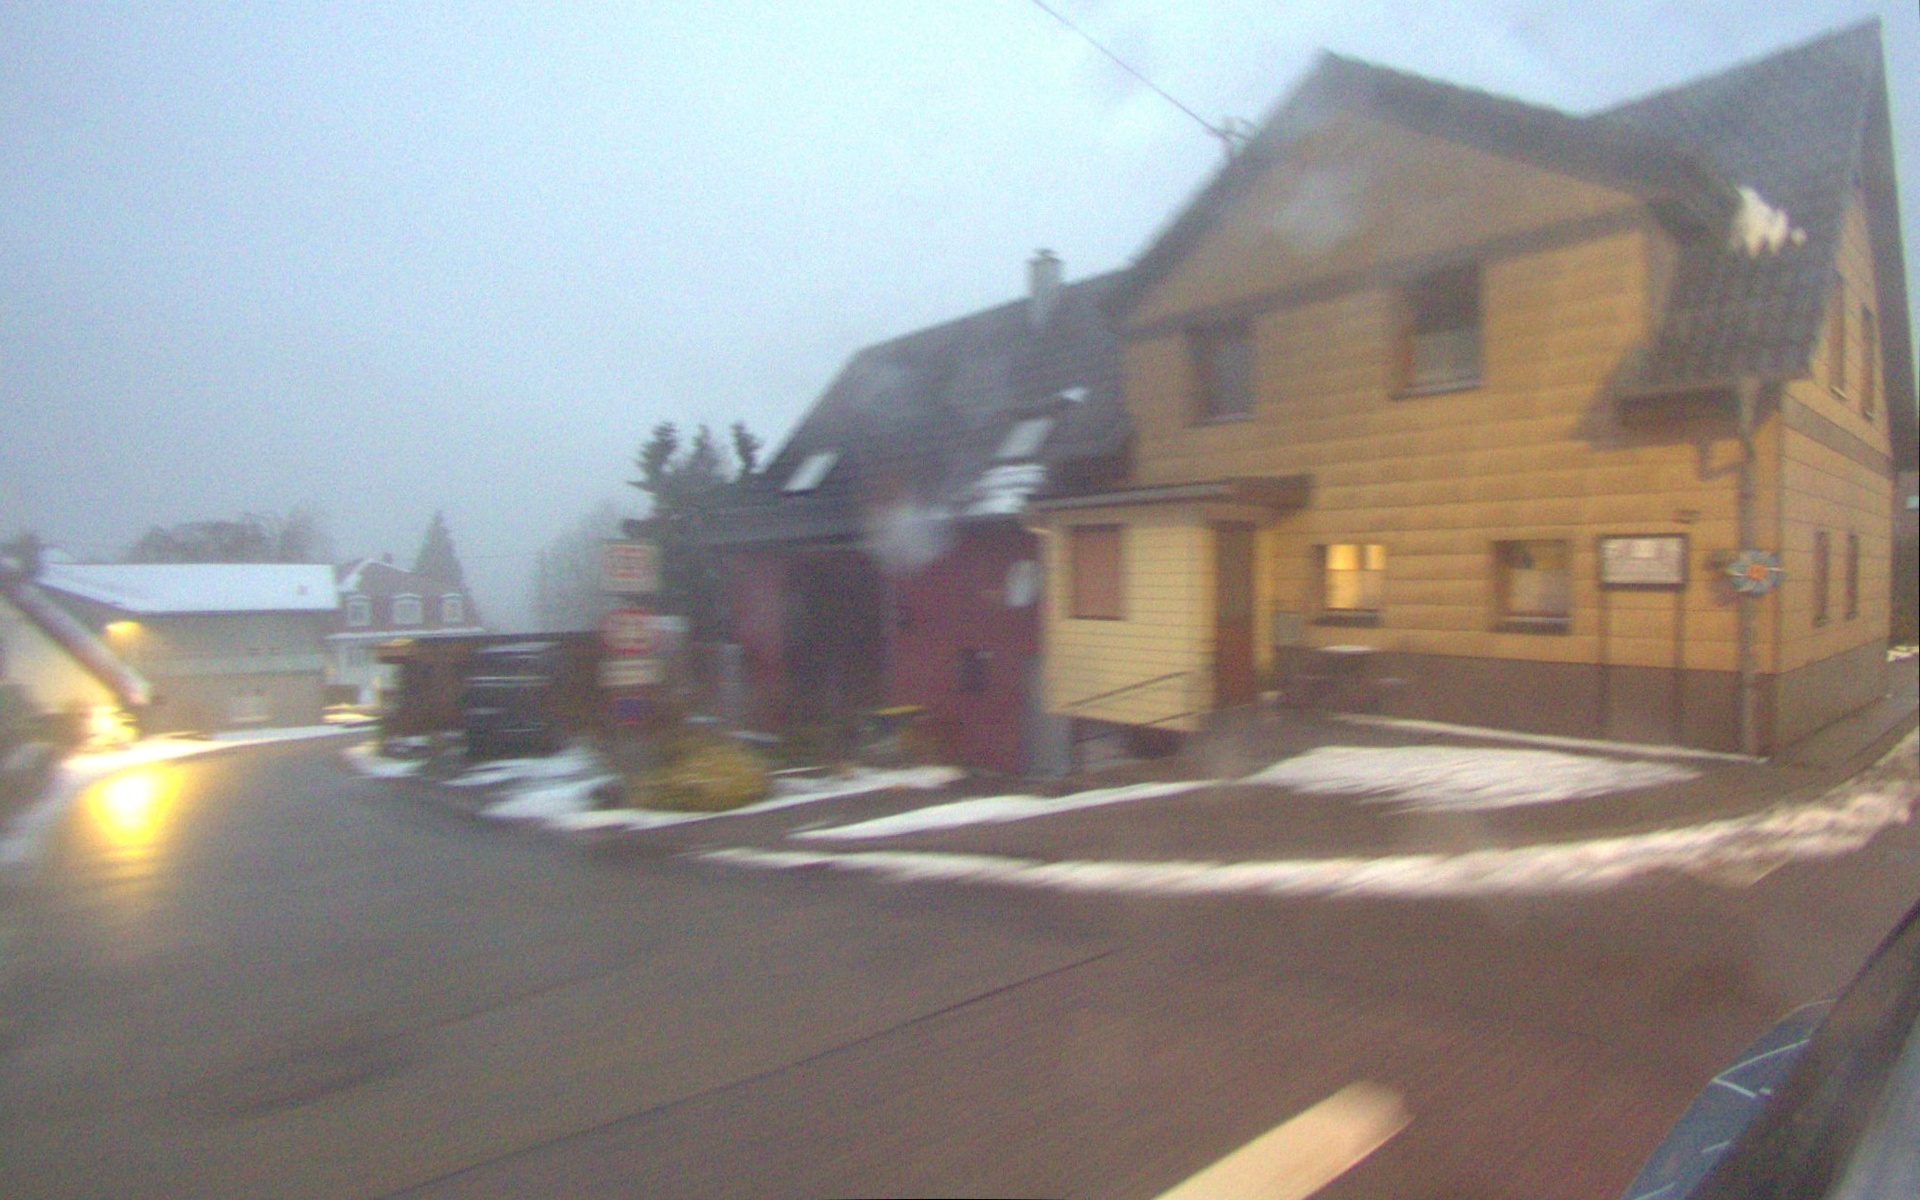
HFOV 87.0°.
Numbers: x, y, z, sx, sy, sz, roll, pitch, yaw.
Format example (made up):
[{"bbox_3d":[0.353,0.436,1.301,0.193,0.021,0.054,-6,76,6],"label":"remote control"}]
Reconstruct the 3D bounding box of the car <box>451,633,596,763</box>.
[{"bbox_3d":[-8.612,1.835,20.312,1.669,2.030,4.008,-2,2,-9],"label":"car"}]
